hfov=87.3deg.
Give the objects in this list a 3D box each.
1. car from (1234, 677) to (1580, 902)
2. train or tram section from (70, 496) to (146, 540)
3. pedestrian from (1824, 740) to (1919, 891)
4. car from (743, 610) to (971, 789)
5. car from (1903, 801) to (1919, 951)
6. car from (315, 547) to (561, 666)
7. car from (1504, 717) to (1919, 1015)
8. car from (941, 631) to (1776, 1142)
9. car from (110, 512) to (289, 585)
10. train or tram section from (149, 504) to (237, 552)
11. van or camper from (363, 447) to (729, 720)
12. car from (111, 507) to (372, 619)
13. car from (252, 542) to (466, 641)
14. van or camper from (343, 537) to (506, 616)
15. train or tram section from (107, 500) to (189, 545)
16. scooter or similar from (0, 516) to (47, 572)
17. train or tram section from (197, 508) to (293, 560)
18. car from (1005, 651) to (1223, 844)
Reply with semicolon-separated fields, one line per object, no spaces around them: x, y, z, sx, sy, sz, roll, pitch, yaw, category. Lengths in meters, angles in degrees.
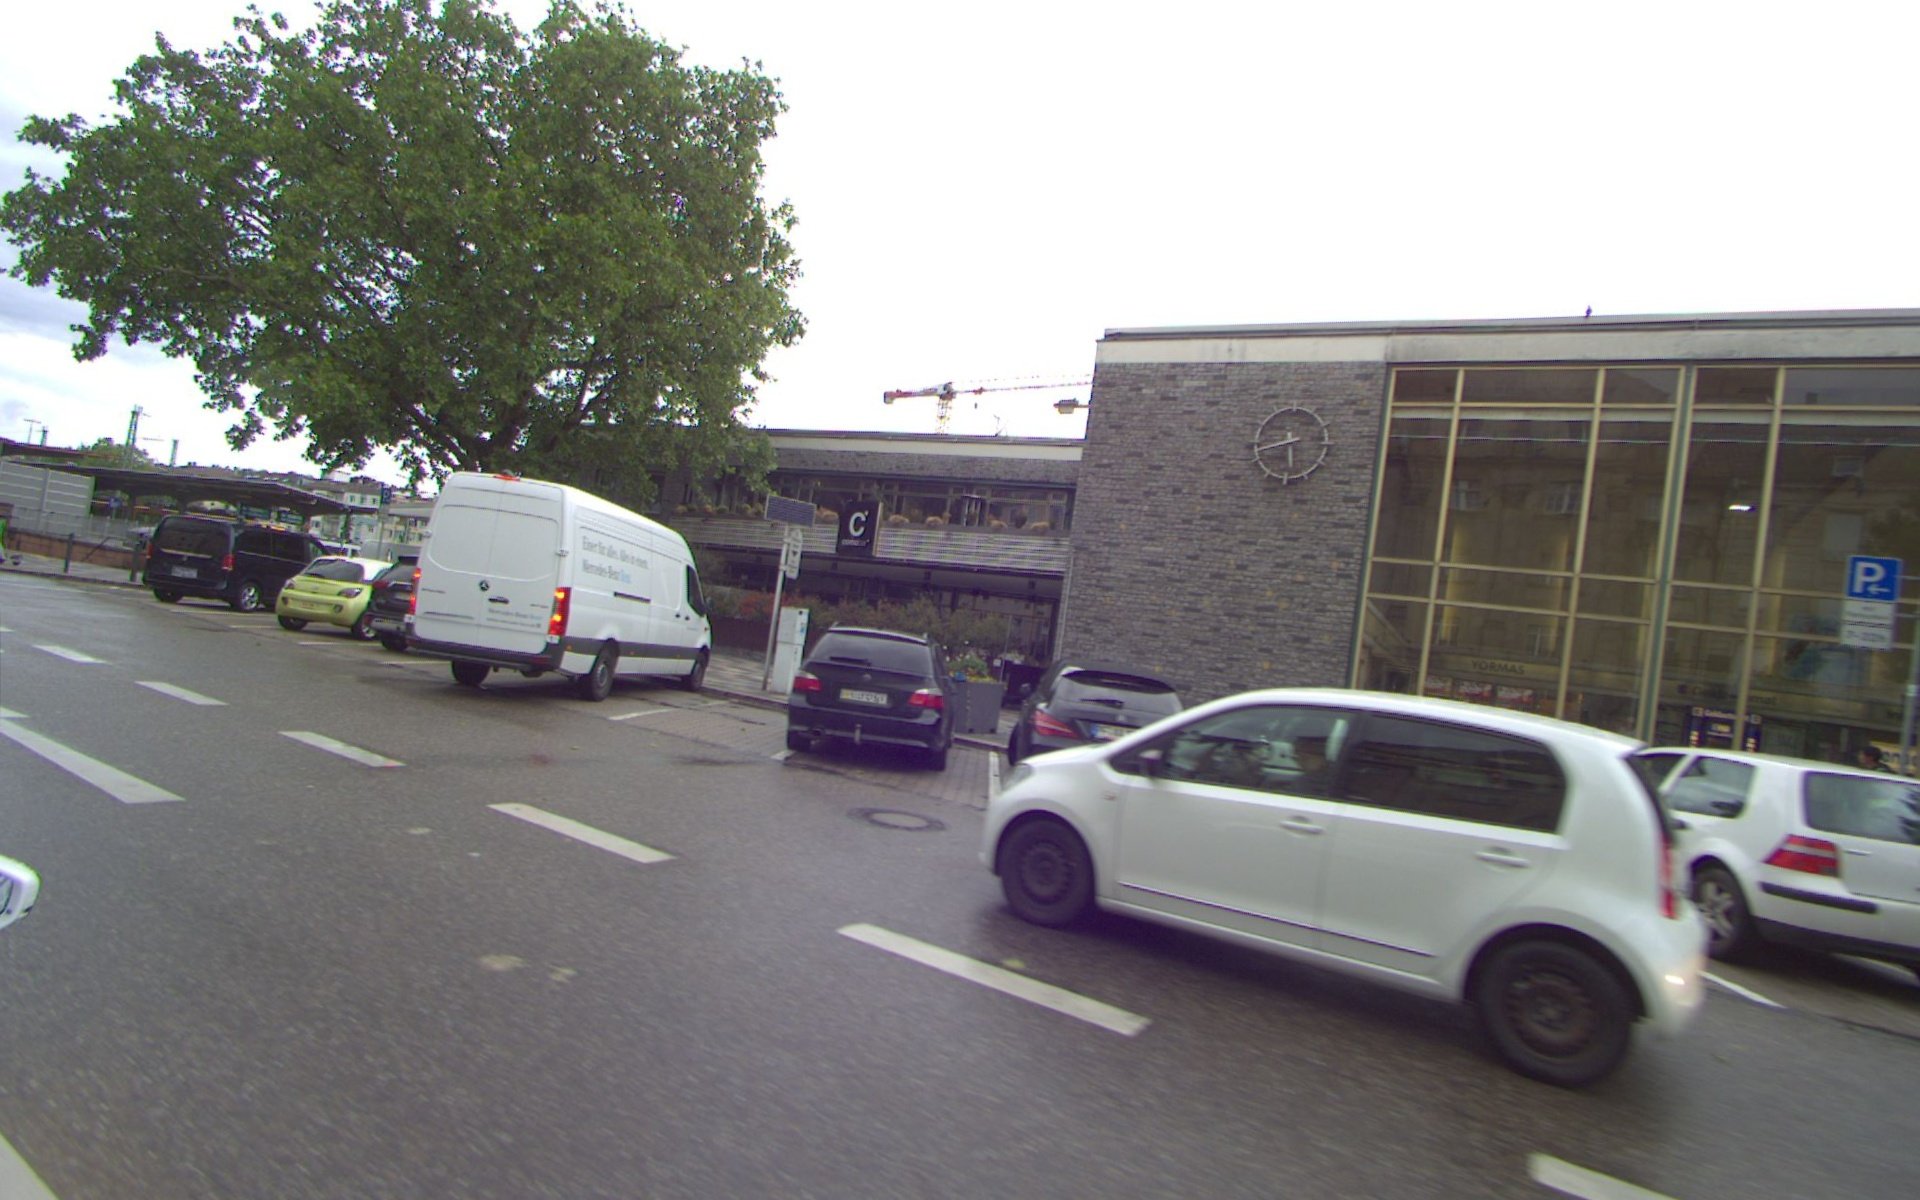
4.027;1.636;9.782;1.746;1.415;3.623;7;-2;3;car
-81.056;-7.815;95.614;8.617;3.322;2.658;6;-1;31;train or tram section
11.376;2.630;12.411;0.819;1.661;0.758;7;-1;31;pedestrian
-0.975;1.050;11.979;1.884;1.488;4.474;7;-2;3;car
8.456;2.116;6.108;1.746;1.415;3.934;7;-2;3;car
-9.081;0.181;18.001;1.849;1.653;4.240;7;-2;3;car
6.101;1.877;7.835;1.746;1.415;3.623;7;-2;3;car
1.888;1.160;5.365;3.531;1.491;1.659;7;-2;34;car
-27.869;-1.831;37.054;2.072;1.896;4.697;7;-2;28;car
-65.971;-6.233;86.471;8.982;3.322;2.658;6;-1;31;train or tram section
-5.562;-0.074;14.951;2.237;2.903;6.535;7;-2;2;van or camper
-15.735;-0.693;22.443;2.069;1.896;4.704;7;-2;3;car
-11.545;-0.076;19.649;1.730;1.542;3.593;7;-2;3;car
-17.951;-0.737;33.933;1.987;2.013;4.288;7;-2;30;van or camper
-73.563;-7.051;91.042;8.982;3.322;2.658;6;-1;31;train or tram section
-23.029;-1.415;24.190;1.640;1.167;1.068;7;-4;33;scooter or similar
-58.219;-5.396;81.808;9.361;3.322;2.658;6;-1;31;train or tram section
1.439;1.379;10.664;1.746;1.415;3.693;7;-2;3;car
